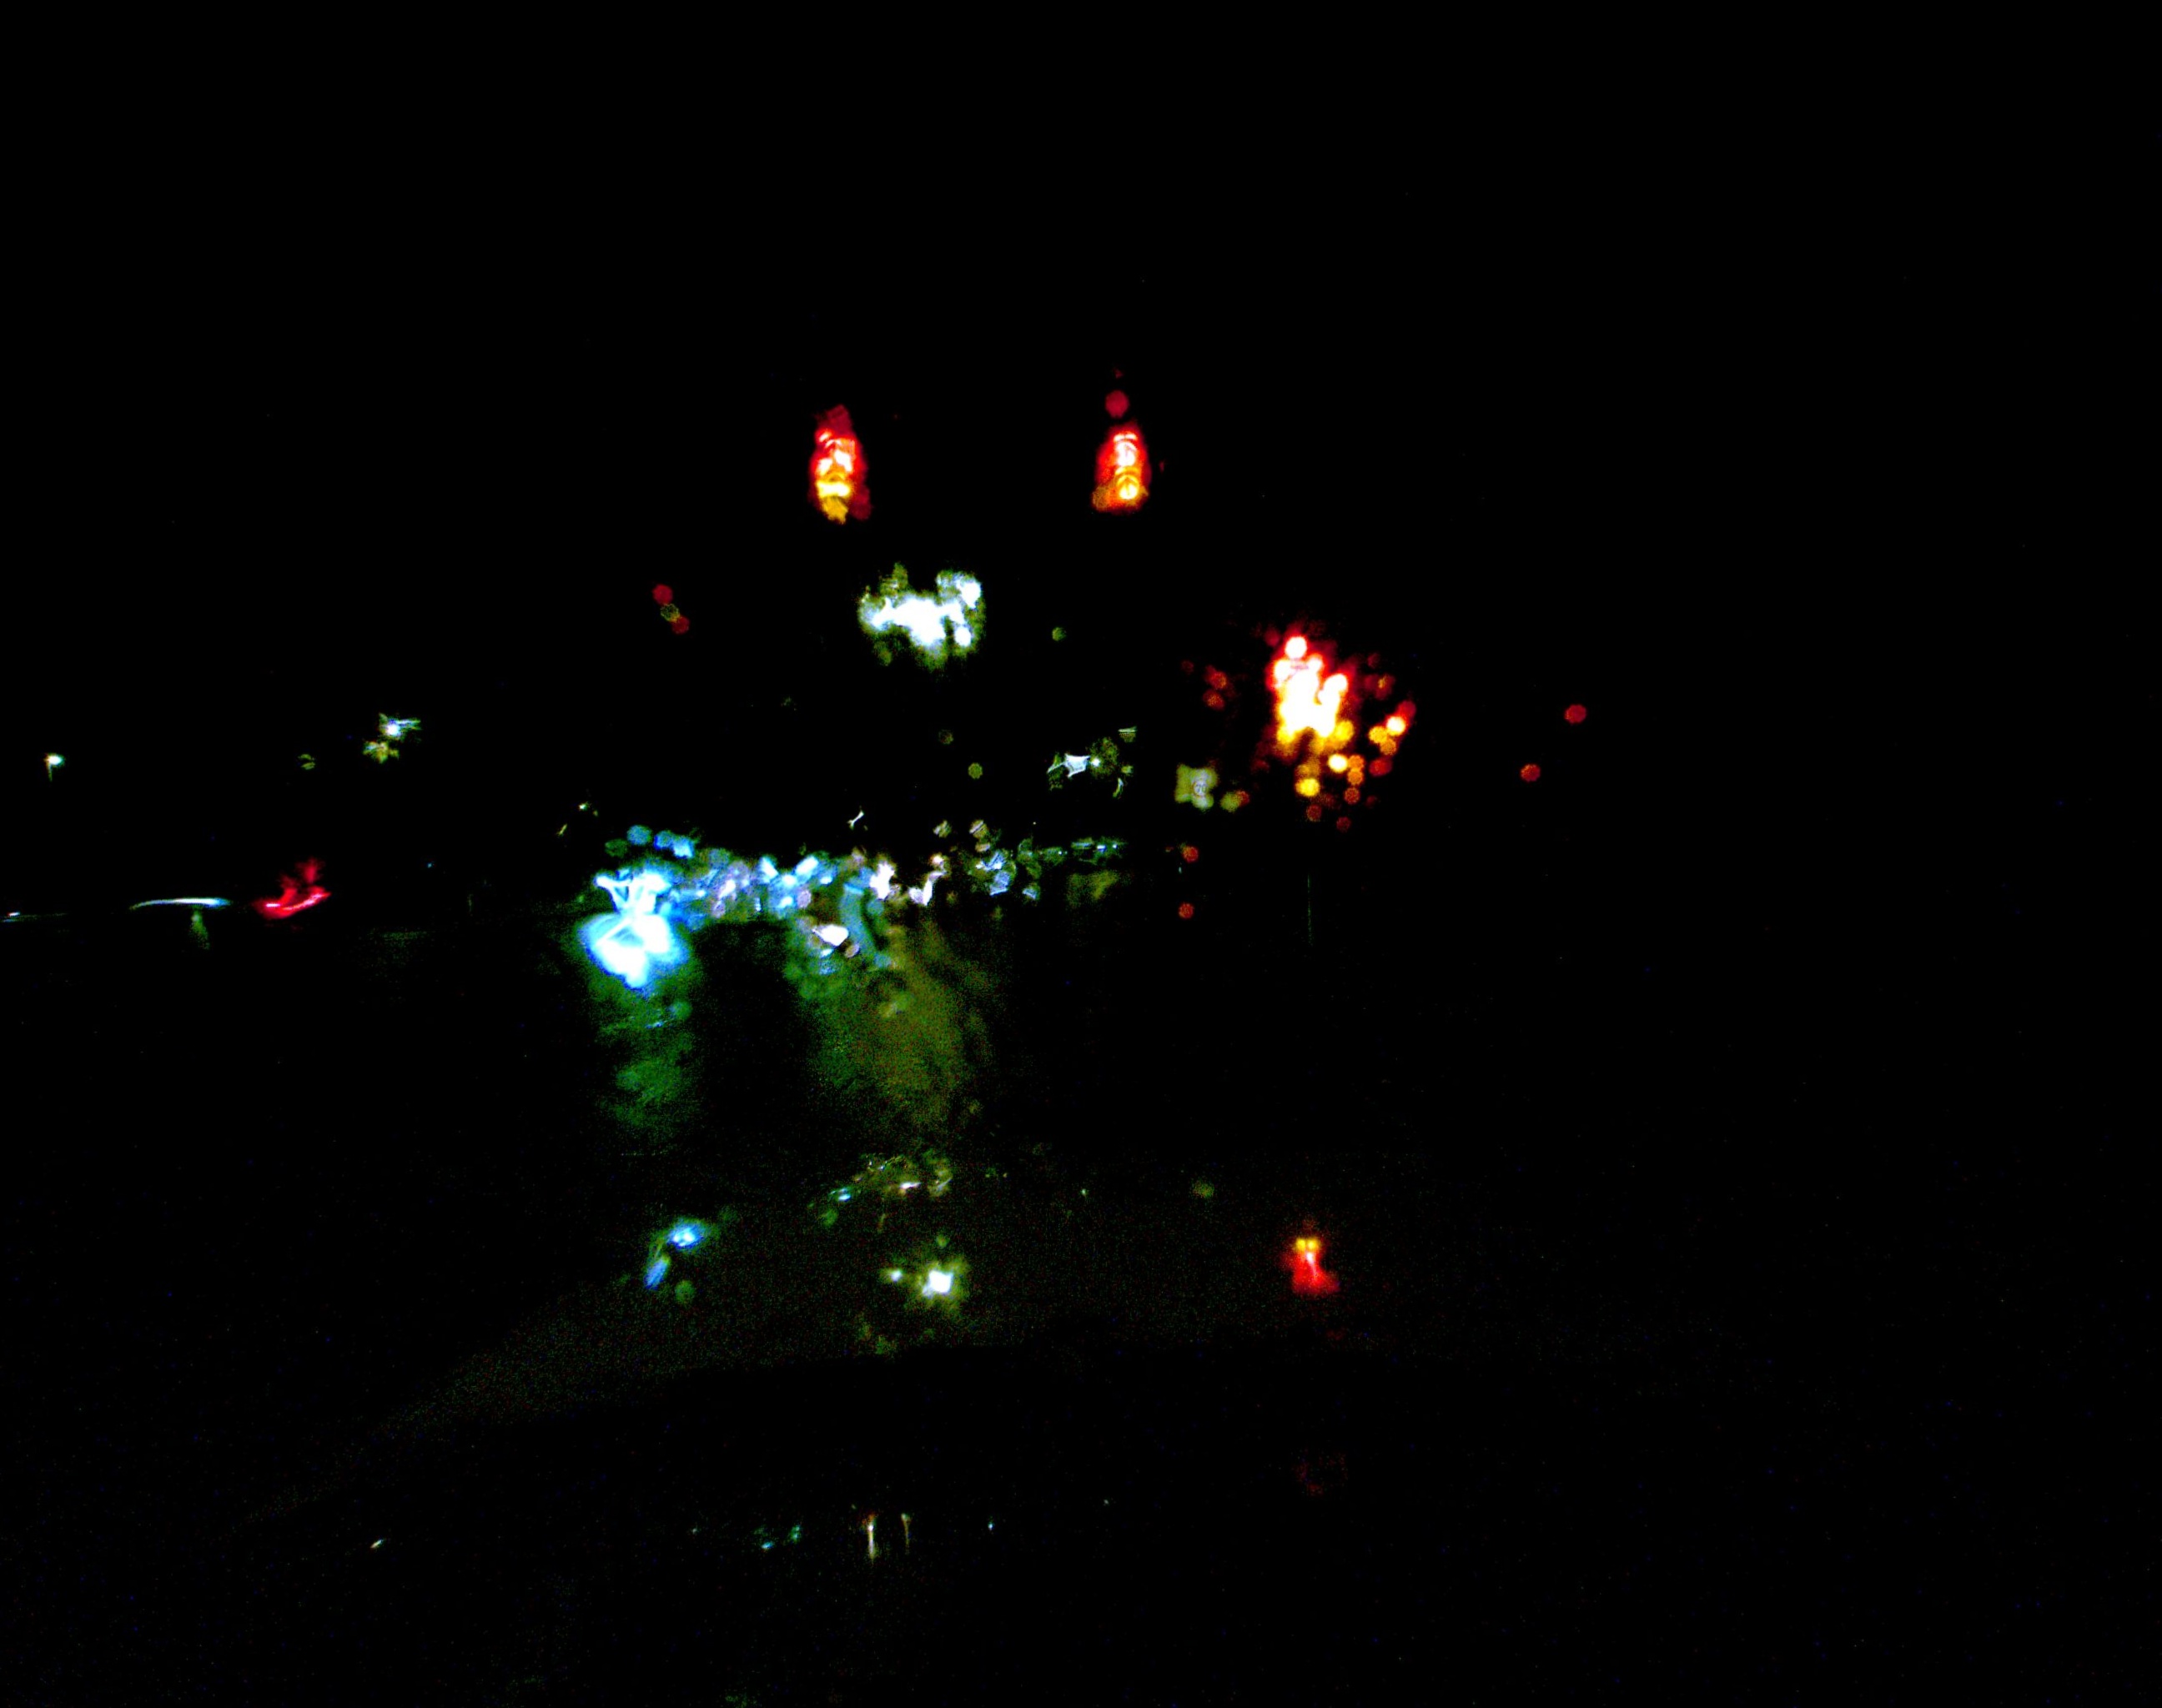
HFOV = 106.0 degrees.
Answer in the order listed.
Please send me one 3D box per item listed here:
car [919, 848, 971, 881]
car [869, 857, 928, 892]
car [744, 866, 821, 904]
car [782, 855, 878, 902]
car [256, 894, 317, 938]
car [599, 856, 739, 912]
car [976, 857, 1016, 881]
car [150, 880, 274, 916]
[{"bbox_3d":[-7.570,0.583,45.749,1.708,1.703,4.151,-1,-1,7],"label":"car"},{"bbox_3d":[-8.408,0.920,37.827,1.577,1.526,3.658,-1,-1,6],"label":"car"},{"bbox_3d":[-12.380,1.255,34.026,1.661,1.454,3.730,-1,-1,3],"label":"car"},{"bbox_3d":[-9.214,0.839,30.342,1.690,1.571,4.719,-1,0,6],"label":"car"},{"bbox_3d":[-38.020,2.913,39.043,1.730,1.831,3.953,-2,0,-39],"label":"car"},{"bbox_3d":[-12.876,0.864,25.862,1.785,1.571,4.916,-1,0,2],"label":"car"},{"bbox_3d":[-5.847,1.037,56.553,1.699,1.534,4.609,-1,-1,7],"label":"car"},{"bbox_3d":[-52.309,2.613,49.176,1.985,1.940,4.929,-1,-1,4],"label":"car"}]
